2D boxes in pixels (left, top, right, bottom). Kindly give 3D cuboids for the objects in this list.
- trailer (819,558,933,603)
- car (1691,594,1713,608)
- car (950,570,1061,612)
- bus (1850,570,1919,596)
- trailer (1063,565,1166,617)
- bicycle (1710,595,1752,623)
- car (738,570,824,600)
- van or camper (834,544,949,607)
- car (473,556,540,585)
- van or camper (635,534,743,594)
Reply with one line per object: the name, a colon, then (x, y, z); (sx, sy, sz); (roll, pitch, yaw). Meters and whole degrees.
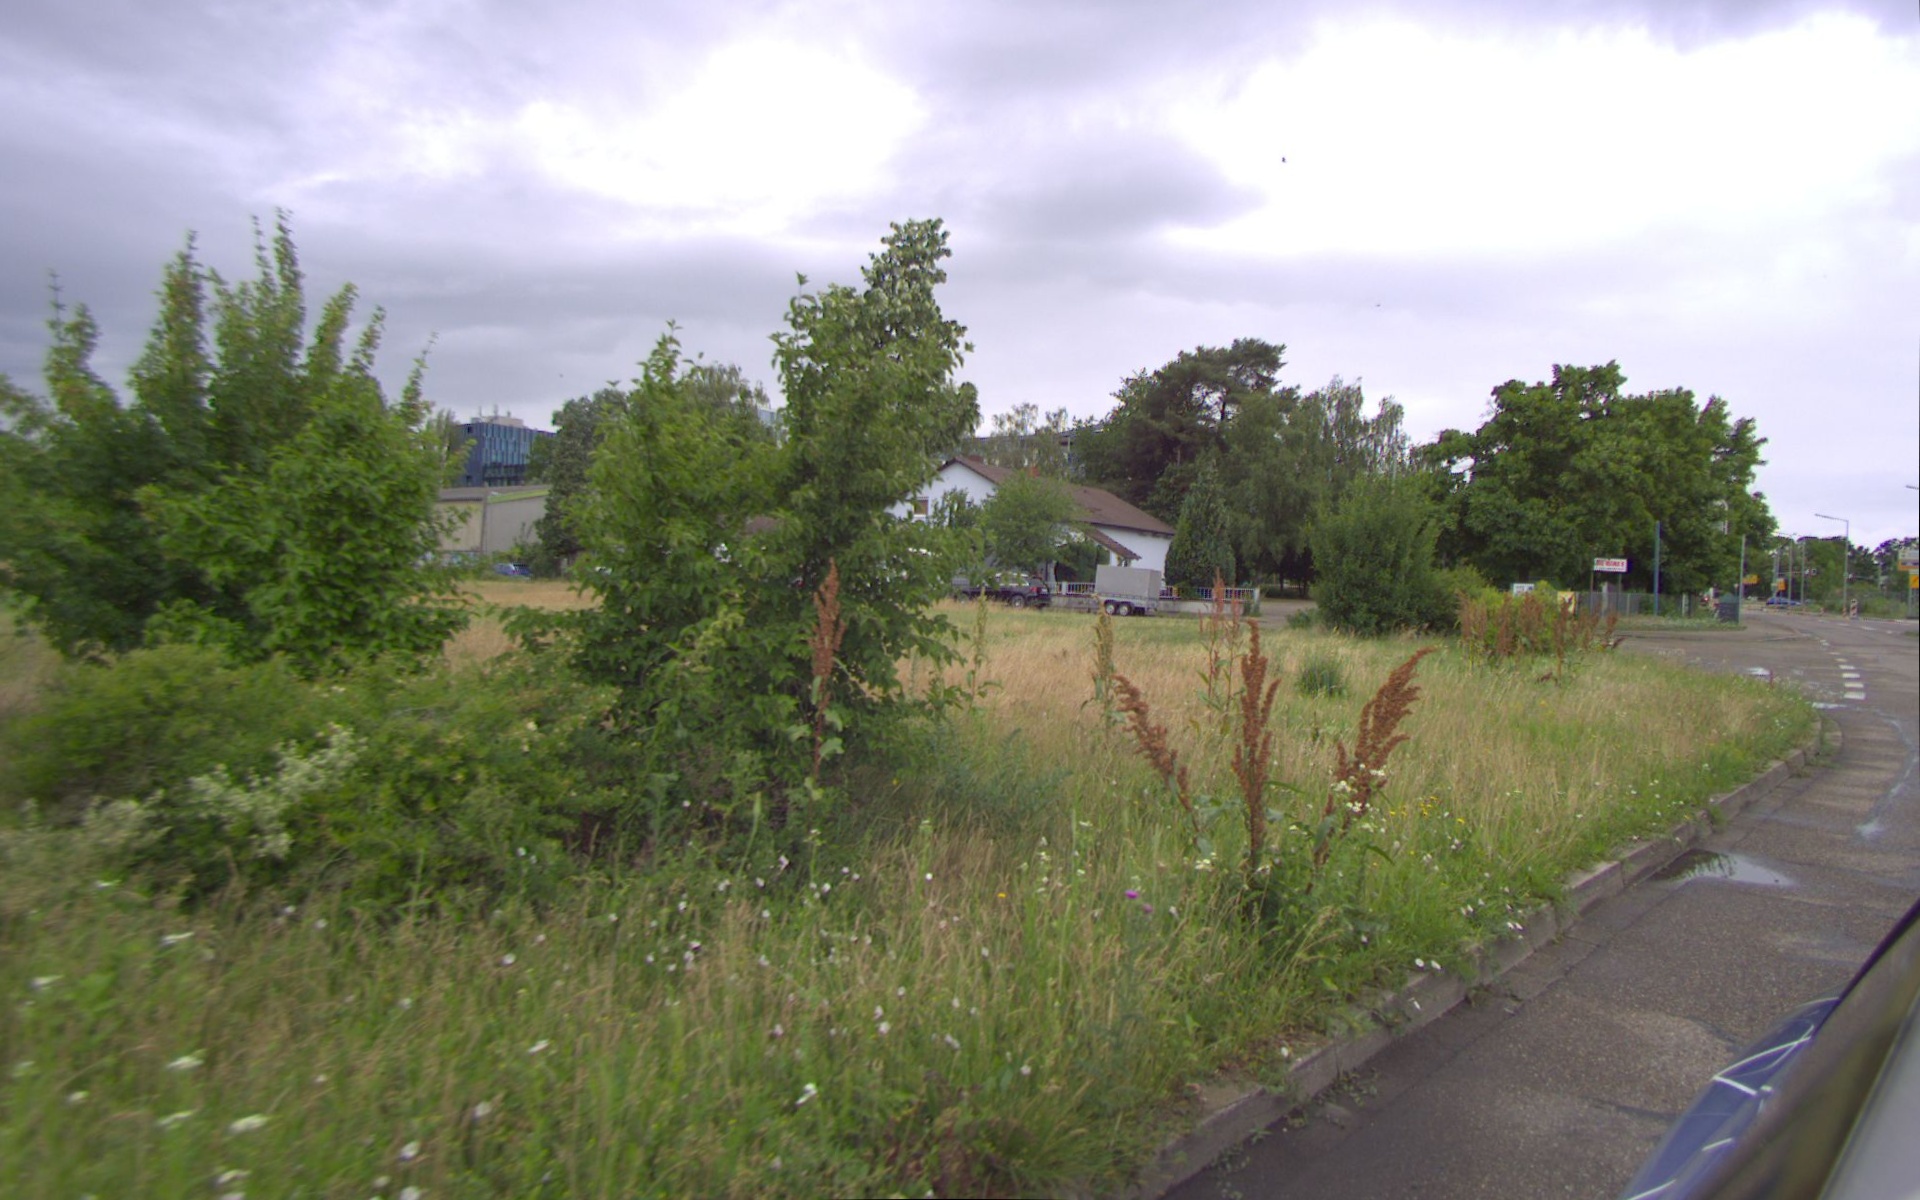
trailer: (-3.245, -0.771, 38.860); (4.087, 1.552, 1.739); (3, 1, 31)
car: (89.480, 0.140, 122.109); (1.874, 1.586, 4.306); (3, 1, 33)
car: (2.032, -0.407, 45.470); (4.560, 1.660, 1.977); (3, 1, 32)
bus: (138.246, -2.577, 150.890); (2.677, 3.694, 8.415); (2, 1, -11)
trailer: (6.564, -0.409, 43.086); (3.970, 2.039, 1.624); (3, 1, 33)
bicycle: (31.972, 0.382, 41.960); (1.914, 1.125, 0.798); (1, 1, -34)
car: (-9.390, -0.780, 52.878); (4.259, 1.402, 1.891); (3, 1, 32)
van or camper: (-3.373, -1.202, 49.215); (5.145, 2.867, 2.387); (3, 1, 34)
car: (-29.841, -1.945, 66.593); (4.254, 1.594, 1.975); (3, -1, 34)
van or camper: (-15.253, -2.056, 56.861); (6.027, 3.150, 2.246); (3, 1, 32)
